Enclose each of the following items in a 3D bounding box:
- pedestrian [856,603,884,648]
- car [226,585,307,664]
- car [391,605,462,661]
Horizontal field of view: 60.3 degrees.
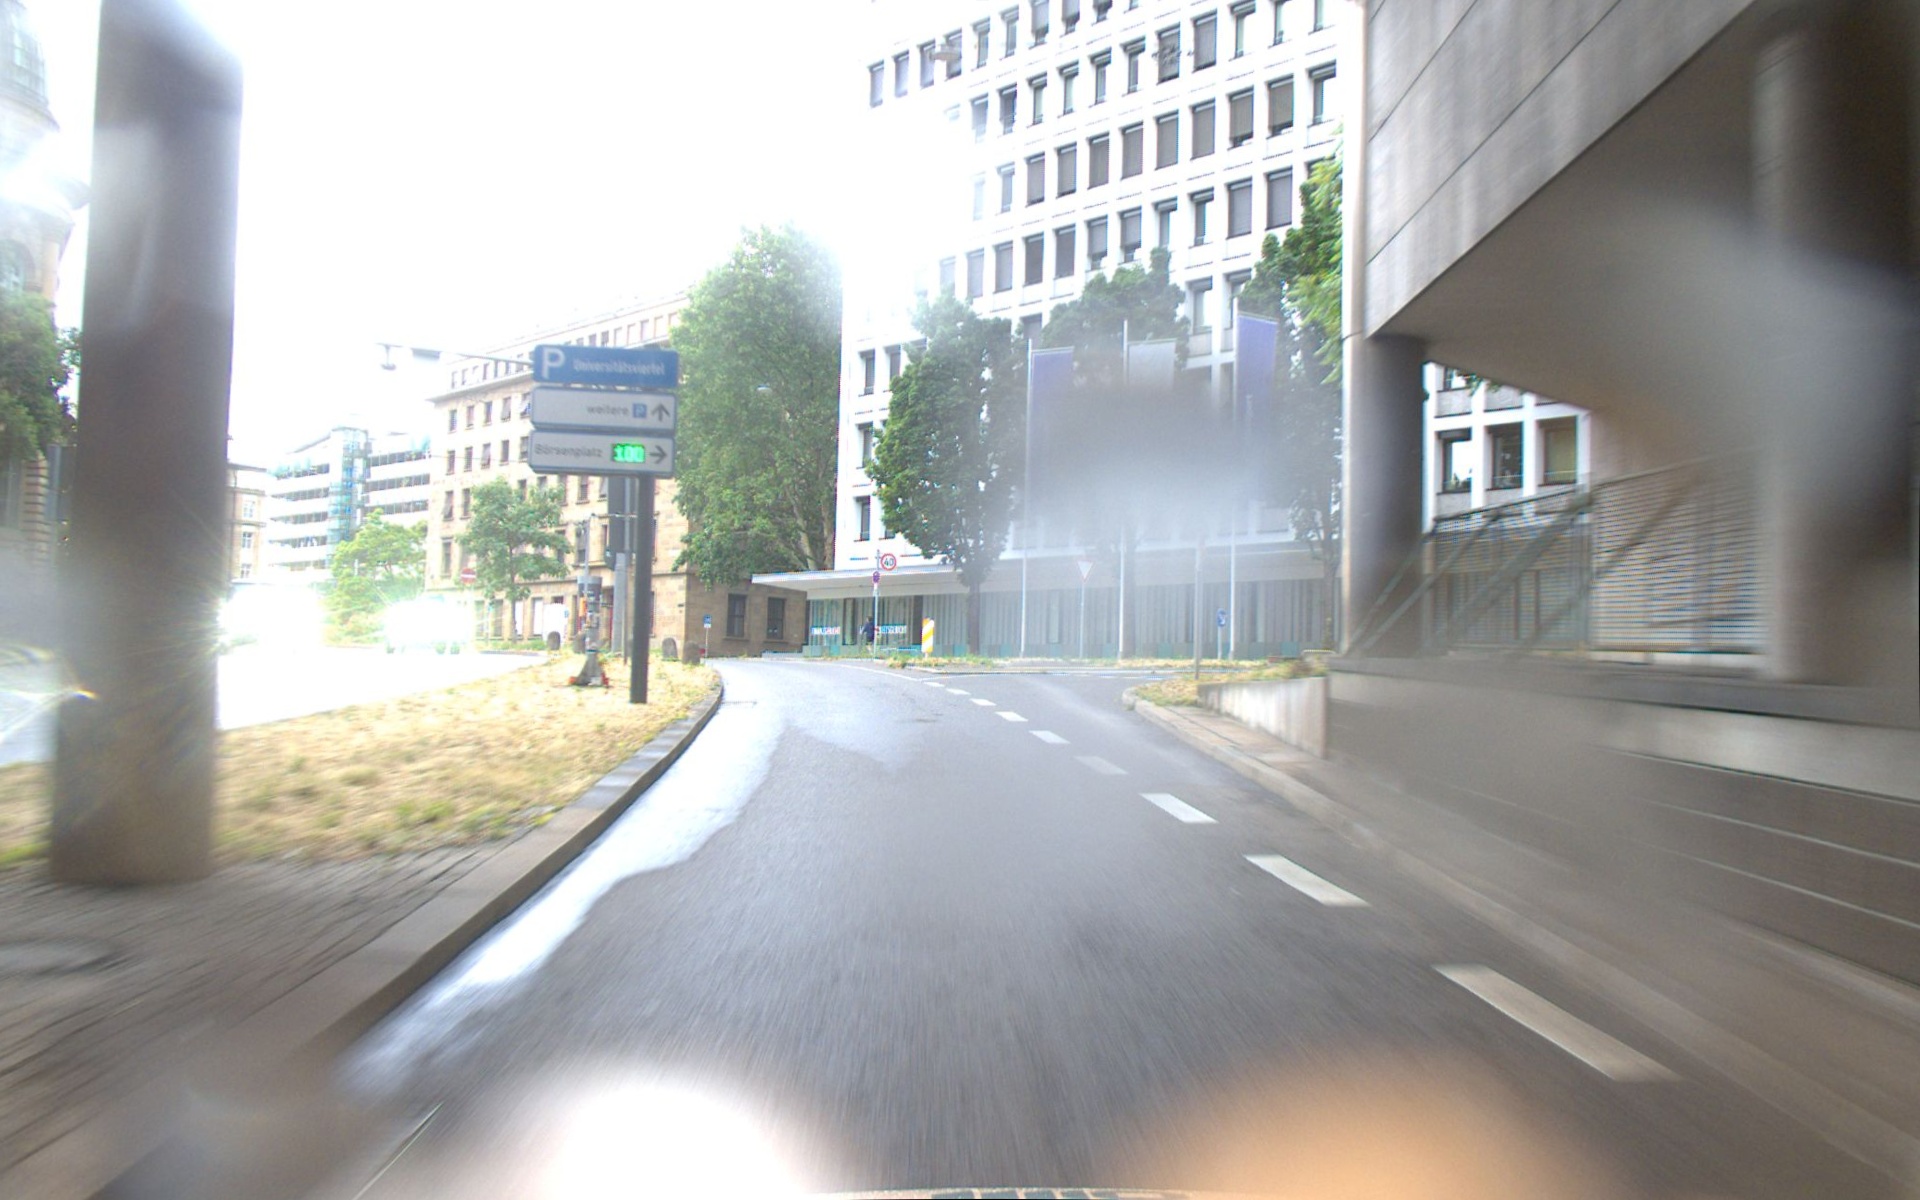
[{"bbox_3d":[-3.737,1.072,68.552,0.774,1.803,0.851,4,-4,-38],"label":"pedestrian"},{"bbox_3d":[-18.281,0.593,43.502,1.813,1.955,4.606,0,0,-25],"label":"car"},{"bbox_3d":[-16.584,0.980,51.296,1.819,1.616,4.360,0,0,-22],"label":"car"}]
